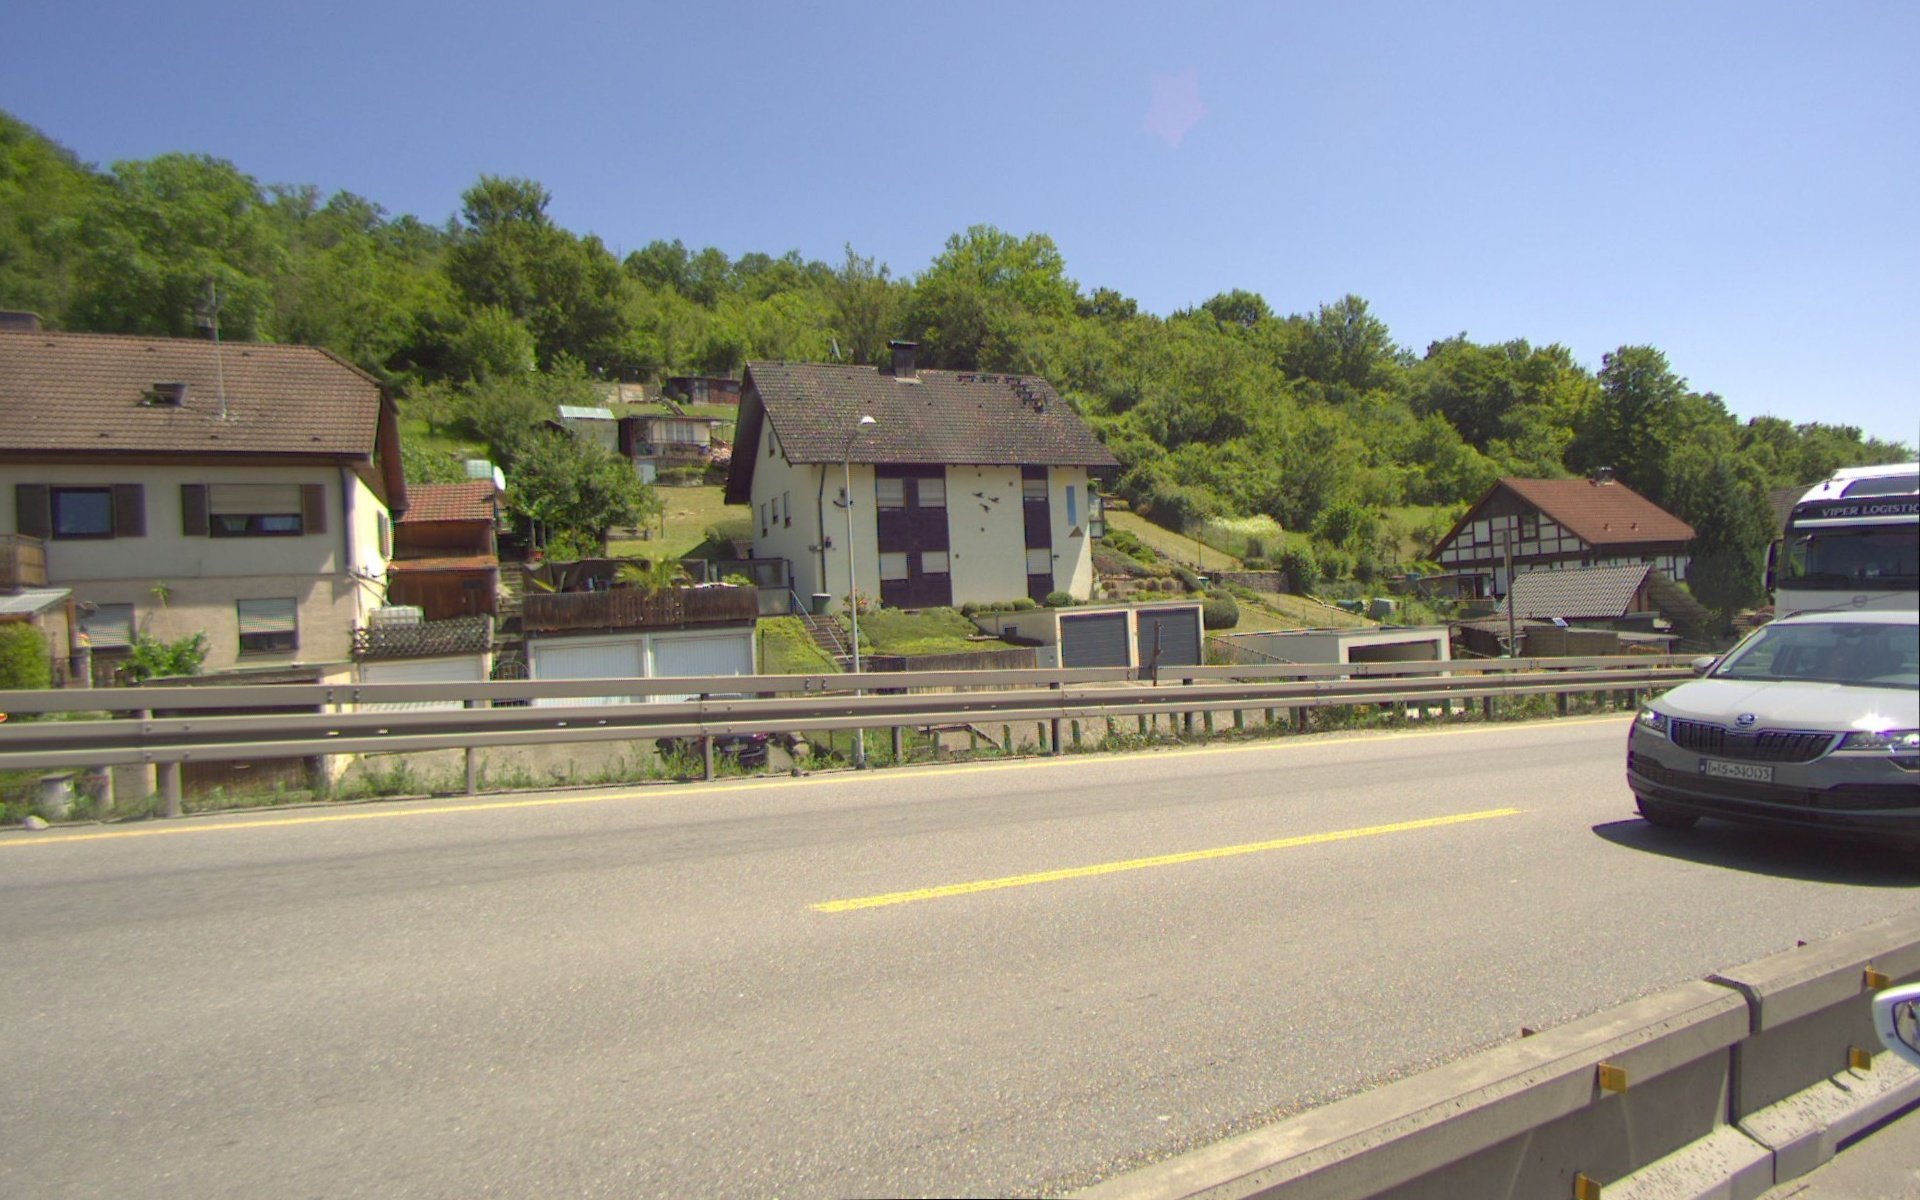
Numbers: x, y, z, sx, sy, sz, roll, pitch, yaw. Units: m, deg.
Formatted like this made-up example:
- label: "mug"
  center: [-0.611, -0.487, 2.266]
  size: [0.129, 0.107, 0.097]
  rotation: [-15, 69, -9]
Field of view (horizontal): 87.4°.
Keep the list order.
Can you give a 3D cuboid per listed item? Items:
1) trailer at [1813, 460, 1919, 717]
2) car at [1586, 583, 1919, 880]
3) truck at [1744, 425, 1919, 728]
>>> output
- label: "trailer"
  center: [18.910, -0.160, 18.062]
  size: [7.907, 4.125, 2.746]
  rotation: [0, 1, -28]
- label: "car"
  center: [6.612, 0.788, 7.291]
  size: [4.022, 1.632, 1.850]
  rotation: [2, -1, -30]
- label: "truck"
  center: [15.529, -0.309, 16.247]
  size: [4.896, 4.341, 2.740]
  rotation: [1, 0, -29]
